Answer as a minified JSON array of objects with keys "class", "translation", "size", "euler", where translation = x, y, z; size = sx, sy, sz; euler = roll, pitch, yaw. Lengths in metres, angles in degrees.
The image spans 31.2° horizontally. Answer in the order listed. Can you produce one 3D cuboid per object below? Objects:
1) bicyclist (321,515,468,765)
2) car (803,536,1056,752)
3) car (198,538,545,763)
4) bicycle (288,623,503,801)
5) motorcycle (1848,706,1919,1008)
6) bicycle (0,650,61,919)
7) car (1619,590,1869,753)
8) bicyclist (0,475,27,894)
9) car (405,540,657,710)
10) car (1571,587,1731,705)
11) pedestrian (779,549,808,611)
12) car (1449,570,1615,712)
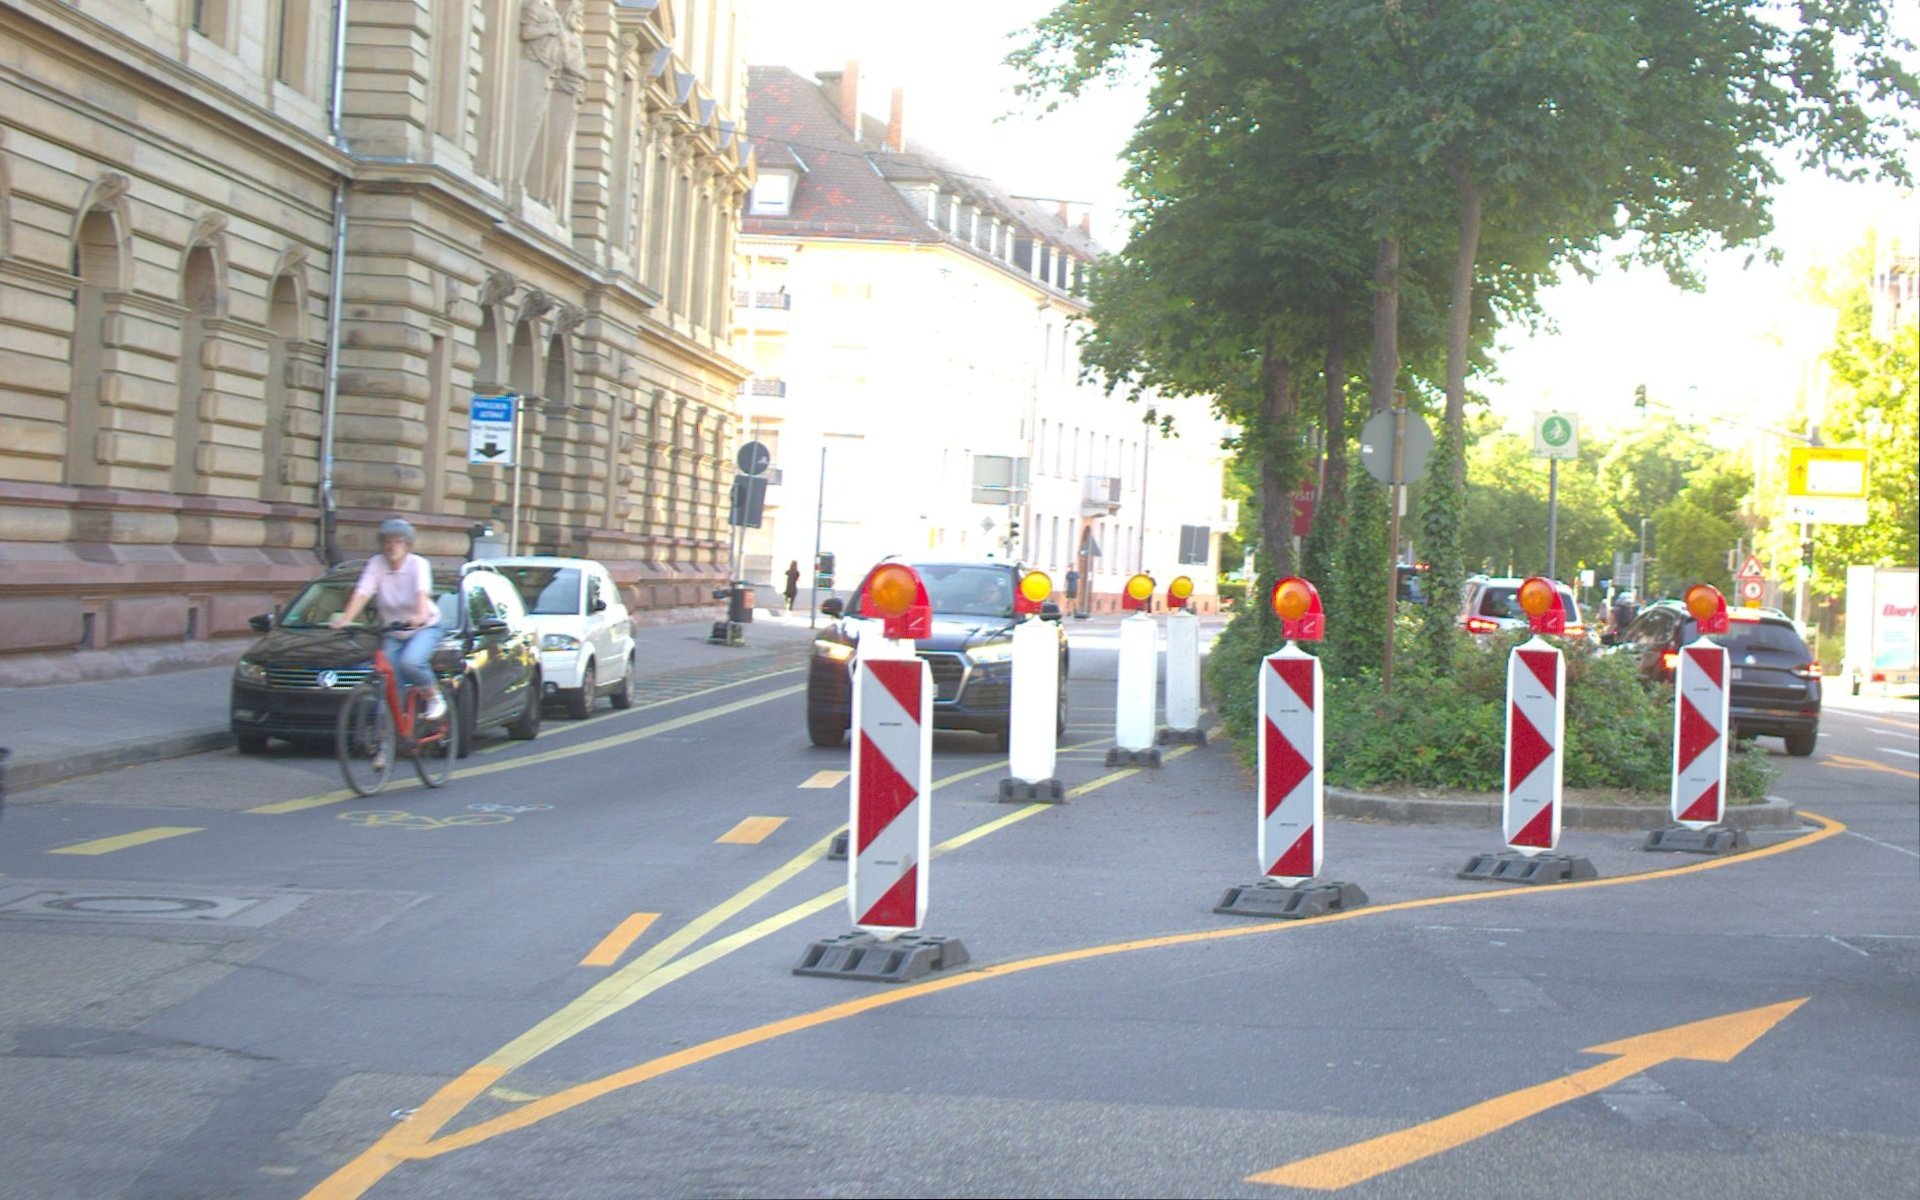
[{"class":"bicyclist","translation":[-3.610,0.247,21.978],"size":[0.628,1.548,0.731],"euler":[2,1,15]},{"class":"car","translation":[-0.272,0.325,30.128],"size":[1.993,1.689,4.399],"euler":[2,1,-1]},{"class":"car","translation":[-4.514,0.332,27.004],"size":[1.993,1.561,4.289],"euler":[2,1,-1]},{"class":"bicycle","translation":[-3.583,0.687,21.992],"size":[0.533,1.031,2.034],"euler":[2,1,15]},{"class":"motorcycle","translation":[4.048,0.960,12.910],"size":[0.798,1.062,1.722],"euler":[4,1,33]},{"class":"bicycle","translation":[-4.082,0.730,13.041],"size":[0.533,1.031,1.906],"euler":[2,1,10]},{"class":"car","translation":[8.067,0.692,35.709],"size":[1.840,1.458,4.057],"euler":[4,1,4]},{"class":"bicyclist","translation":[-4.024,0.317,12.953],"size":[0.628,1.608,0.869],"euler":[2,1,10]},{"class":"car","translation":[-4.203,0.205,34.283],"size":[1.993,1.523,4.185],"euler":[2,1,-1]},{"class":"car","translation":[11.132,0.712,55.620],"size":[1.840,1.693,4.057],"euler":[4,1,3]},{"class":"pedestrian","translation":[-4.243,-0.507,87.803],"size":[0.665,1.548,0.649],"euler":[2,1,-1]},{"class":"car","translation":[8.478,0.573,51.252],"size":[1.840,1.906,4.057],"euler":[4,1,3]}]
